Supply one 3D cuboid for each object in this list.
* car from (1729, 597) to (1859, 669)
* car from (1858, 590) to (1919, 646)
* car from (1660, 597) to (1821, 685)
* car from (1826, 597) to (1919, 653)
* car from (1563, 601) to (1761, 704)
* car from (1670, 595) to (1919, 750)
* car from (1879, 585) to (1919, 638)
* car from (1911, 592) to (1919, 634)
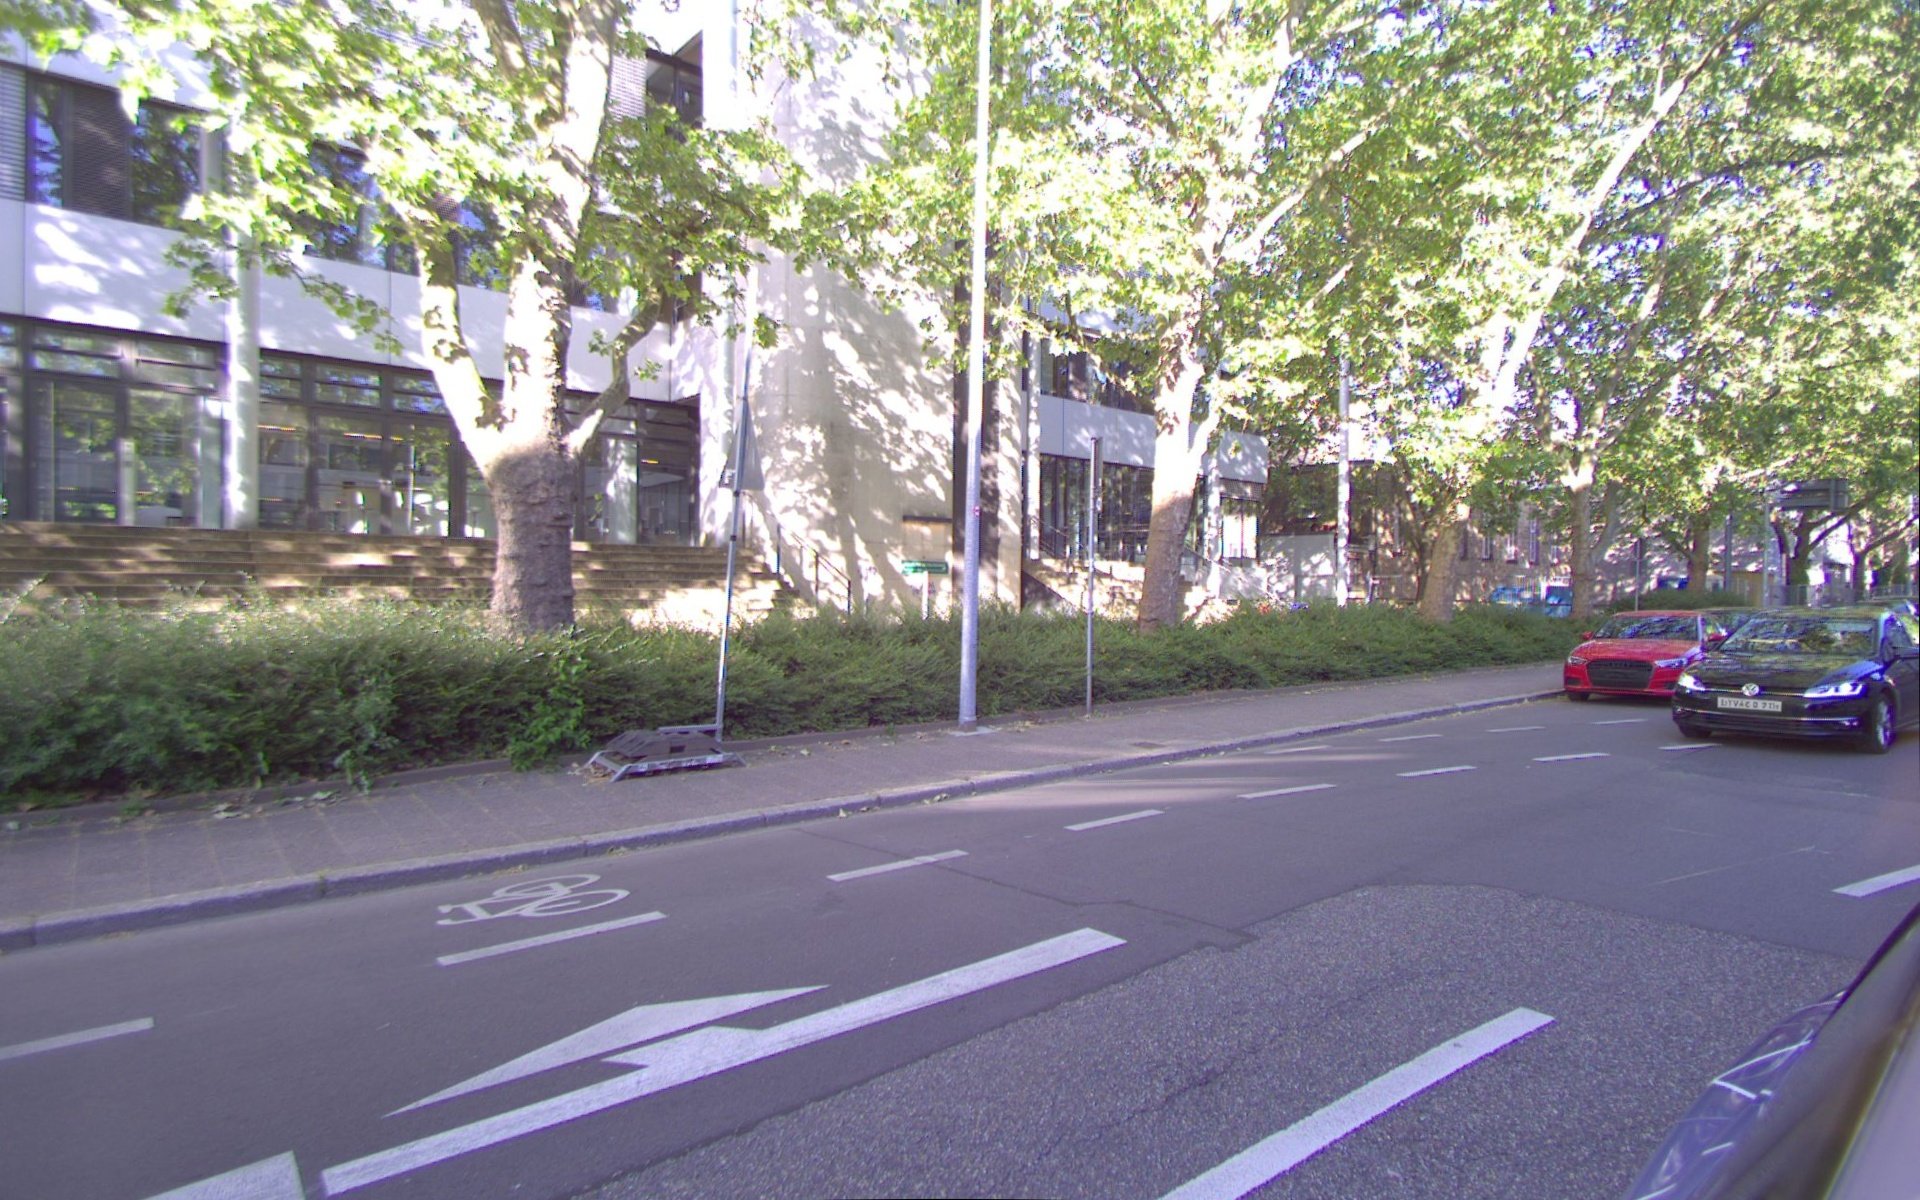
[{"bbox_3d":[18.614,0.669,22.538,3.715,1.452,1.664,0,1,-41],"label":"car"},{"bbox_3d":[29.518,0.517,31.652,3.770,1.640,1.684,0,1,-41],"label":"car"},{"bbox_3d":[14.813,0.699,19.144,3.930,1.485,1.684,0,0,-41],"label":"car"},{"bbox_3d":[26.017,0.648,28.698,3.930,1.469,1.684,0,1,-41],"label":"car"},{"bbox_3d":[11.248,0.750,16.117,3.962,1.439,1.722,0,-2,-42],"label":"car"},{"bbox_3d":[9.748,0.680,11.342,3.827,1.459,1.695,0,0,-34],"label":"car"},{"bbox_3d":[33.973,0.384,35.707,4.354,1.790,1.818,0,1,-41],"label":"car"},{"bbox_3d":[38.710,0.503,39.724,3.801,1.581,1.684,0,1,-41],"label":"car"}]
